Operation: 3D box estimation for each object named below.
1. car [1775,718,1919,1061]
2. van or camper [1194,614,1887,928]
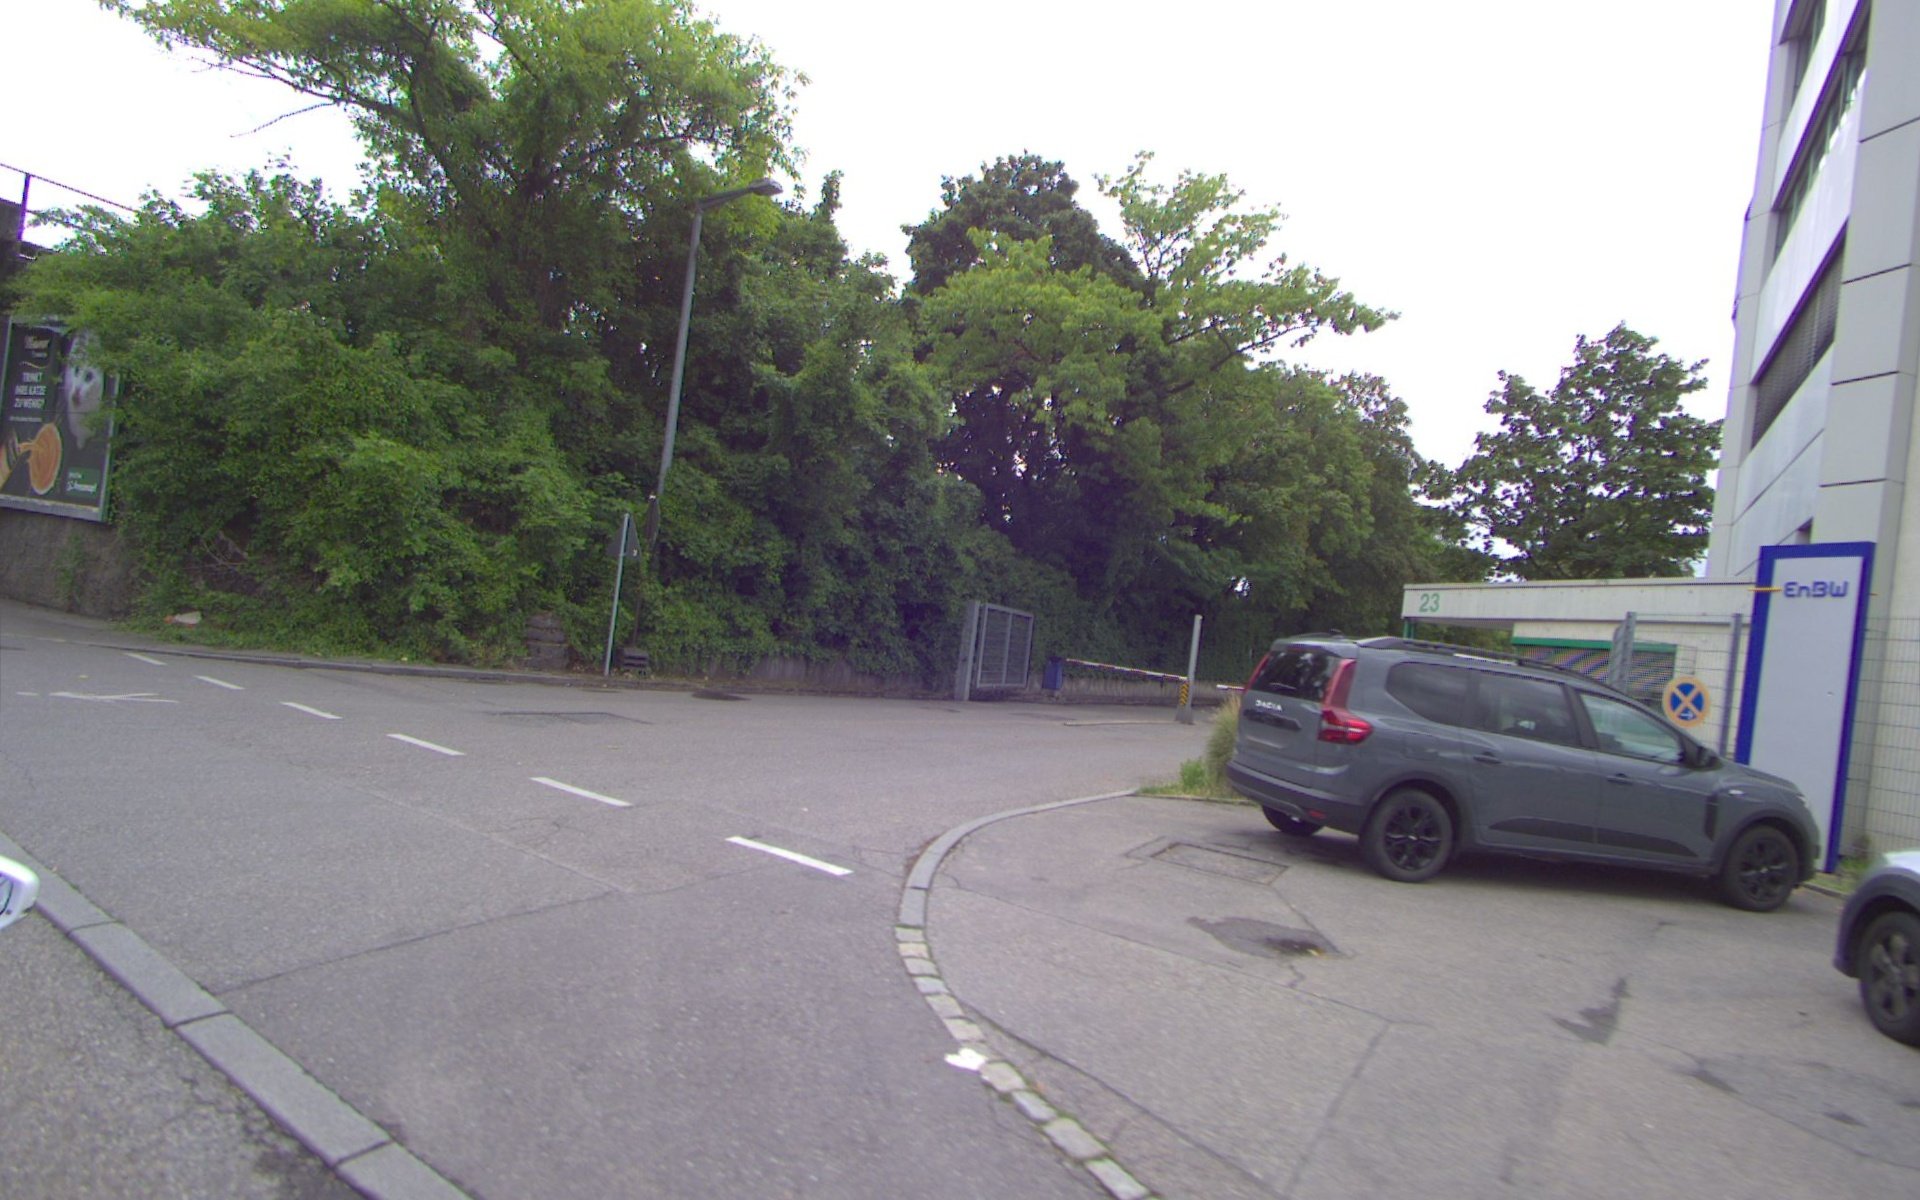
[{"bbox_3d":[5.007,1.379,3.302,1.752,1.449,4.024,7,-1,10],"label":"car"},{"bbox_3d":[4.364,1.262,7.893,4.430,1.713,1.831,8,-2,-9],"label":"van or camper"}]
